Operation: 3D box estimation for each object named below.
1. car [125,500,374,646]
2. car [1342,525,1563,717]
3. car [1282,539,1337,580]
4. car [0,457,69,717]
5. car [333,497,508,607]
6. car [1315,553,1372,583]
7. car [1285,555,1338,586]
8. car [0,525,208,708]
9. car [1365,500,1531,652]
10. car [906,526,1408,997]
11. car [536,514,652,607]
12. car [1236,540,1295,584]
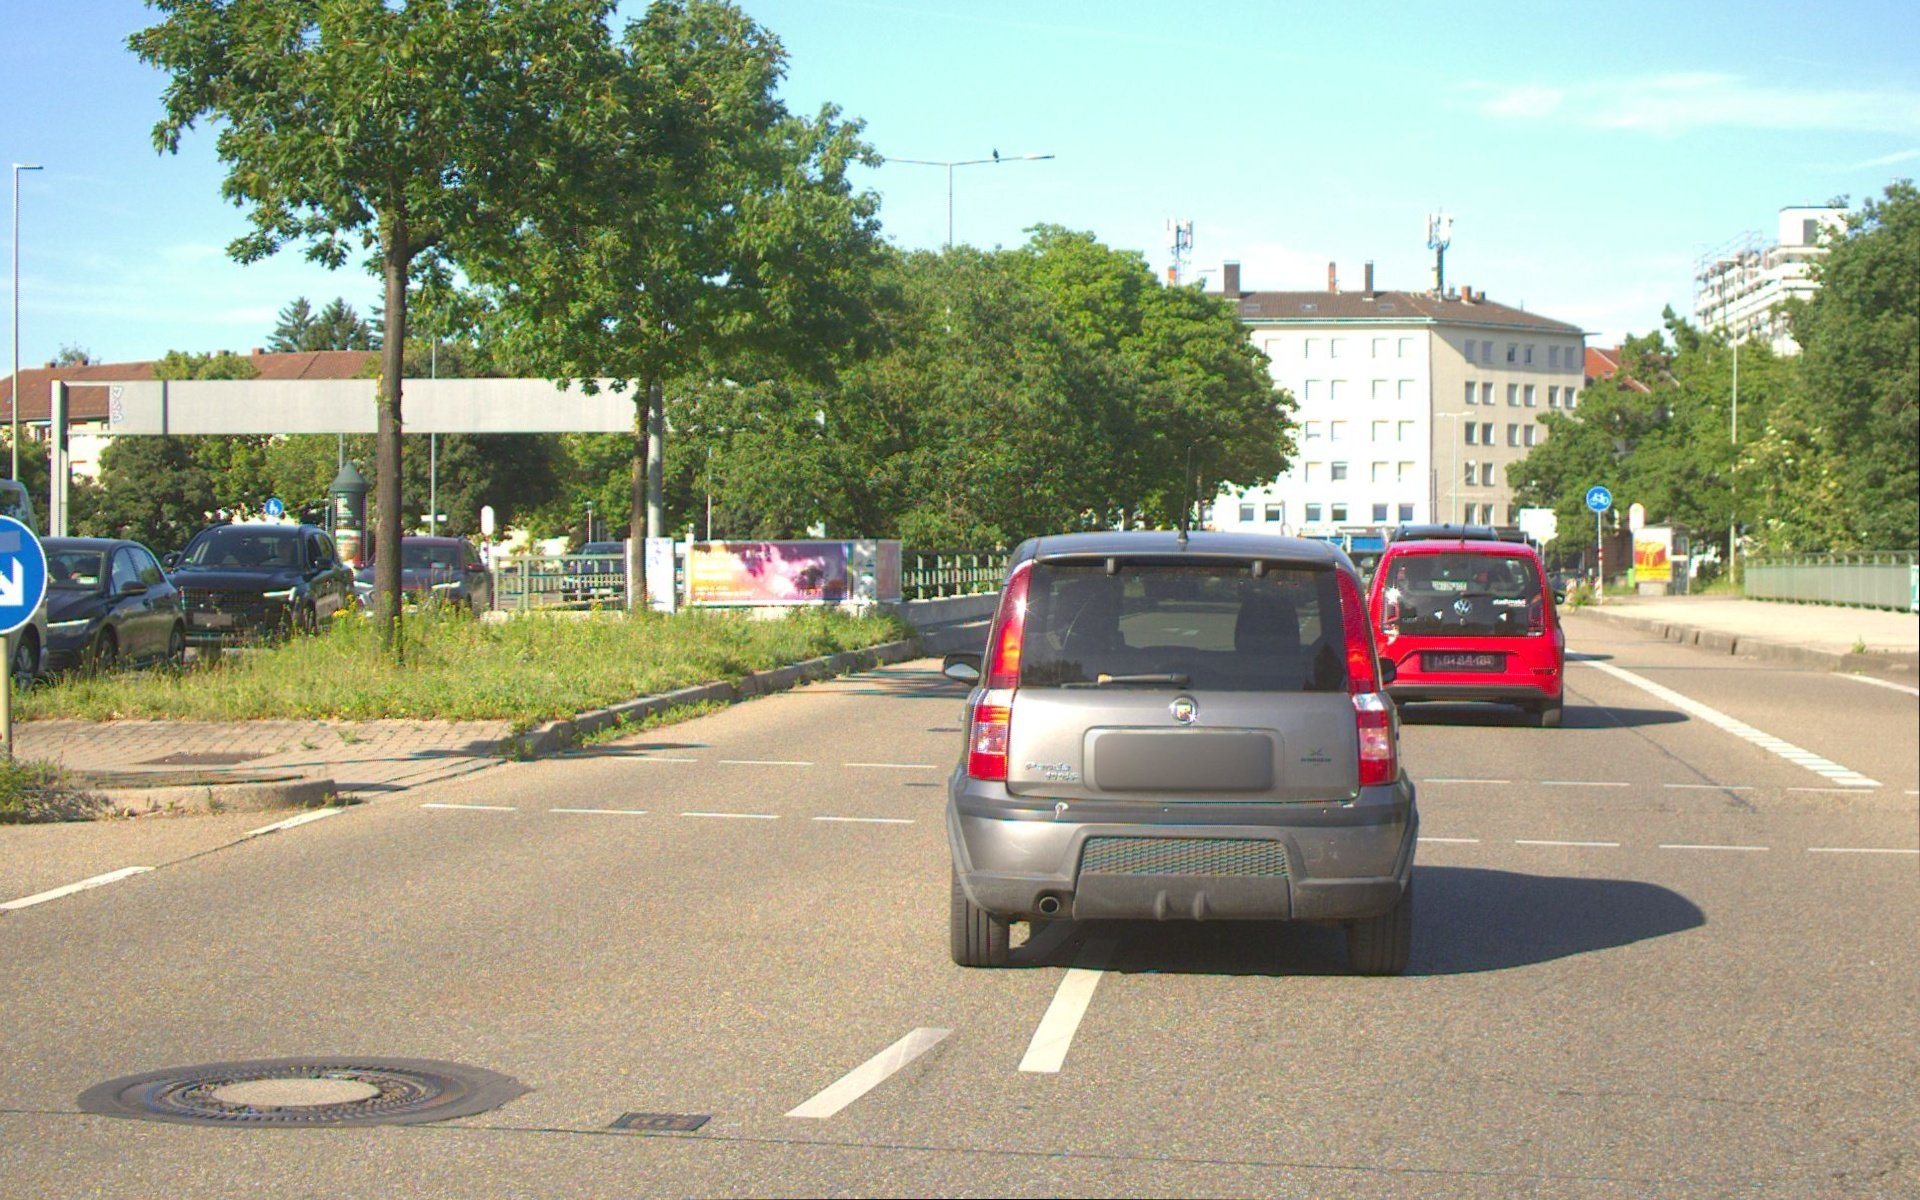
[{"bbox_3d":[-8.327,-0.341,40.674,1.936,1.617,4.506,0,1,1],"label":"car"},{"bbox_3d":[4.021,0.122,28.509,1.618,1.458,3.750,1,1,5],"label":"car"},{"bbox_3d":[13.413,-1.565,131.653,1.946,1.523,4.096,0,1,8],"label":"car"},{"bbox_3d":[-8.344,-0.097,26.056,1.936,2.001,4.932,0,1,0],"label":"car"},{"bbox_3d":[-8.344,-0.756,53.526,1.936,1.617,4.506,0,1,1],"label":"car"},{"bbox_3d":[20.225,-1.700,181.324,1.947,1.523,4.093,1,1,22],"label":"car"},{"bbox_3d":[17.740,-1.482,173.474,1.947,1.523,4.094,1,1,16],"label":"car"},{"bbox_3d":[-8.596,0.105,32.670,1.936,1.617,4.506,0,1,0],"label":"car"},{"bbox_3d":[6.434,-0.299,45.016,1.946,1.834,4.151,2,0,10],"label":"car"},{"bbox_3d":[0.758,0.487,13.179,1.617,1.510,3.819,1,1,3],"label":"car"},{"bbox_3d":[-8.123,-0.879,76.600,1.993,2.007,4.334,0,1,2],"label":"car"},{"bbox_3d":[10.817,-1.361,121.560,1.946,1.523,4.096,0,1,7],"label":"car"}]
